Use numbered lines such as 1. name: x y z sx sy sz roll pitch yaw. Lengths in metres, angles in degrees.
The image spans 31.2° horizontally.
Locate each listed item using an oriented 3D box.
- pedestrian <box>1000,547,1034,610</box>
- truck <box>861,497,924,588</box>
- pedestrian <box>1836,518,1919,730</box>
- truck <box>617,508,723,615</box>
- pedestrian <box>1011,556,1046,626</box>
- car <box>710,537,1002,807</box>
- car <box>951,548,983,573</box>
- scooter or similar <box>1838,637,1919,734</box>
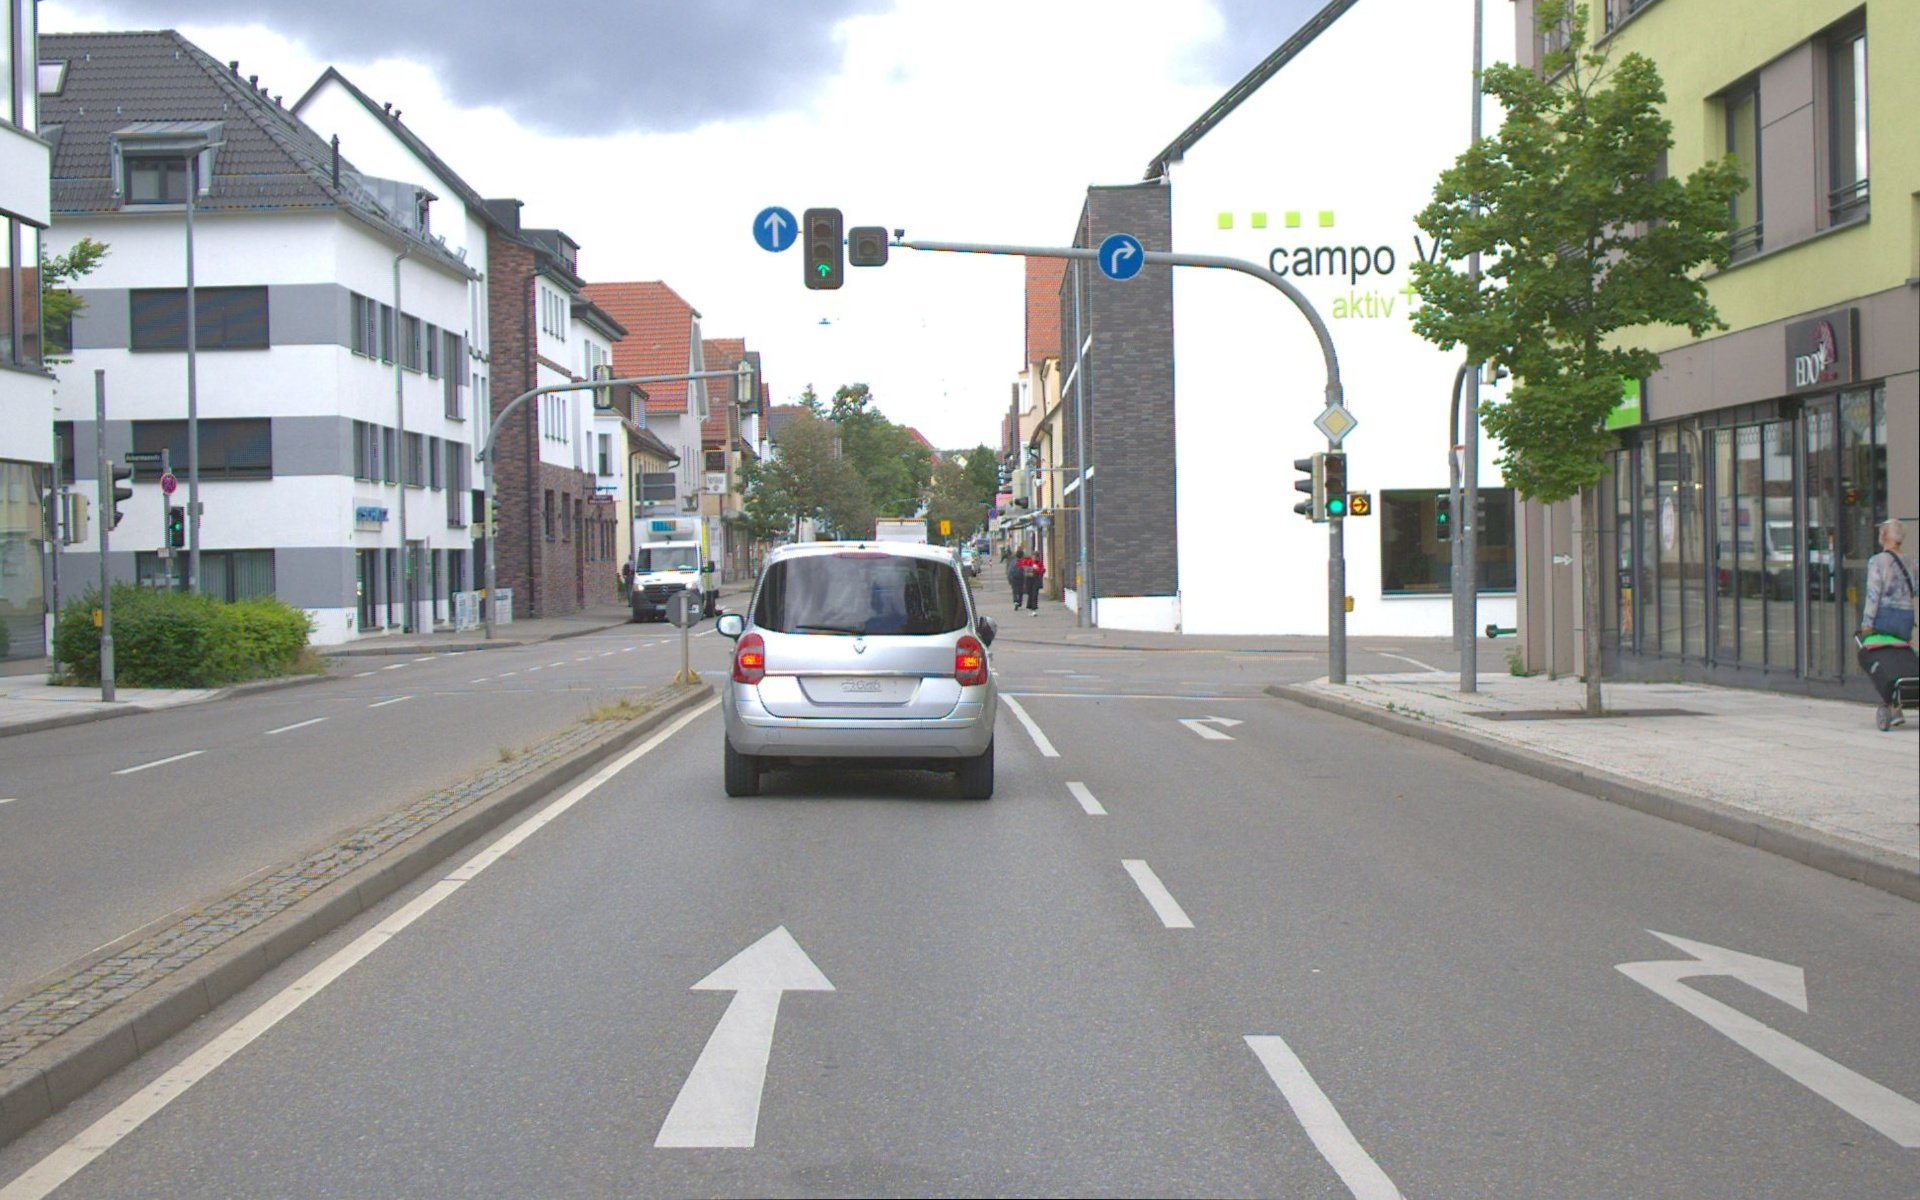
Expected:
1. pedestrian: 1.661 -0.624 100.213 0.889 1.780 0.785 -4 1 0
2. truck: -2.894 -2.495 149.095 2.595 3.844 6.849 -1 1 0
3. pedestrian: 7.190 0.172 26.435 0.695 1.588 0.603 -2 1 -1
4. truck: -8.386 -1.145 100.051 2.435 2.943 8.365 -1 1 -1
5. pedestrian: 1.803 -0.249 90.638 0.807 1.780 0.861 -4 1 0
6. car: -0.640 0.393 22.264 1.706 1.573 4.000 1 1 -1
7. car: 0.394 -2.309 200.015 1.812 1.349 4.000 -2 1 0
8. scooter or similar: 6.995 0.635 25.729 0.592 0.670 0.824 -2 1 -1
